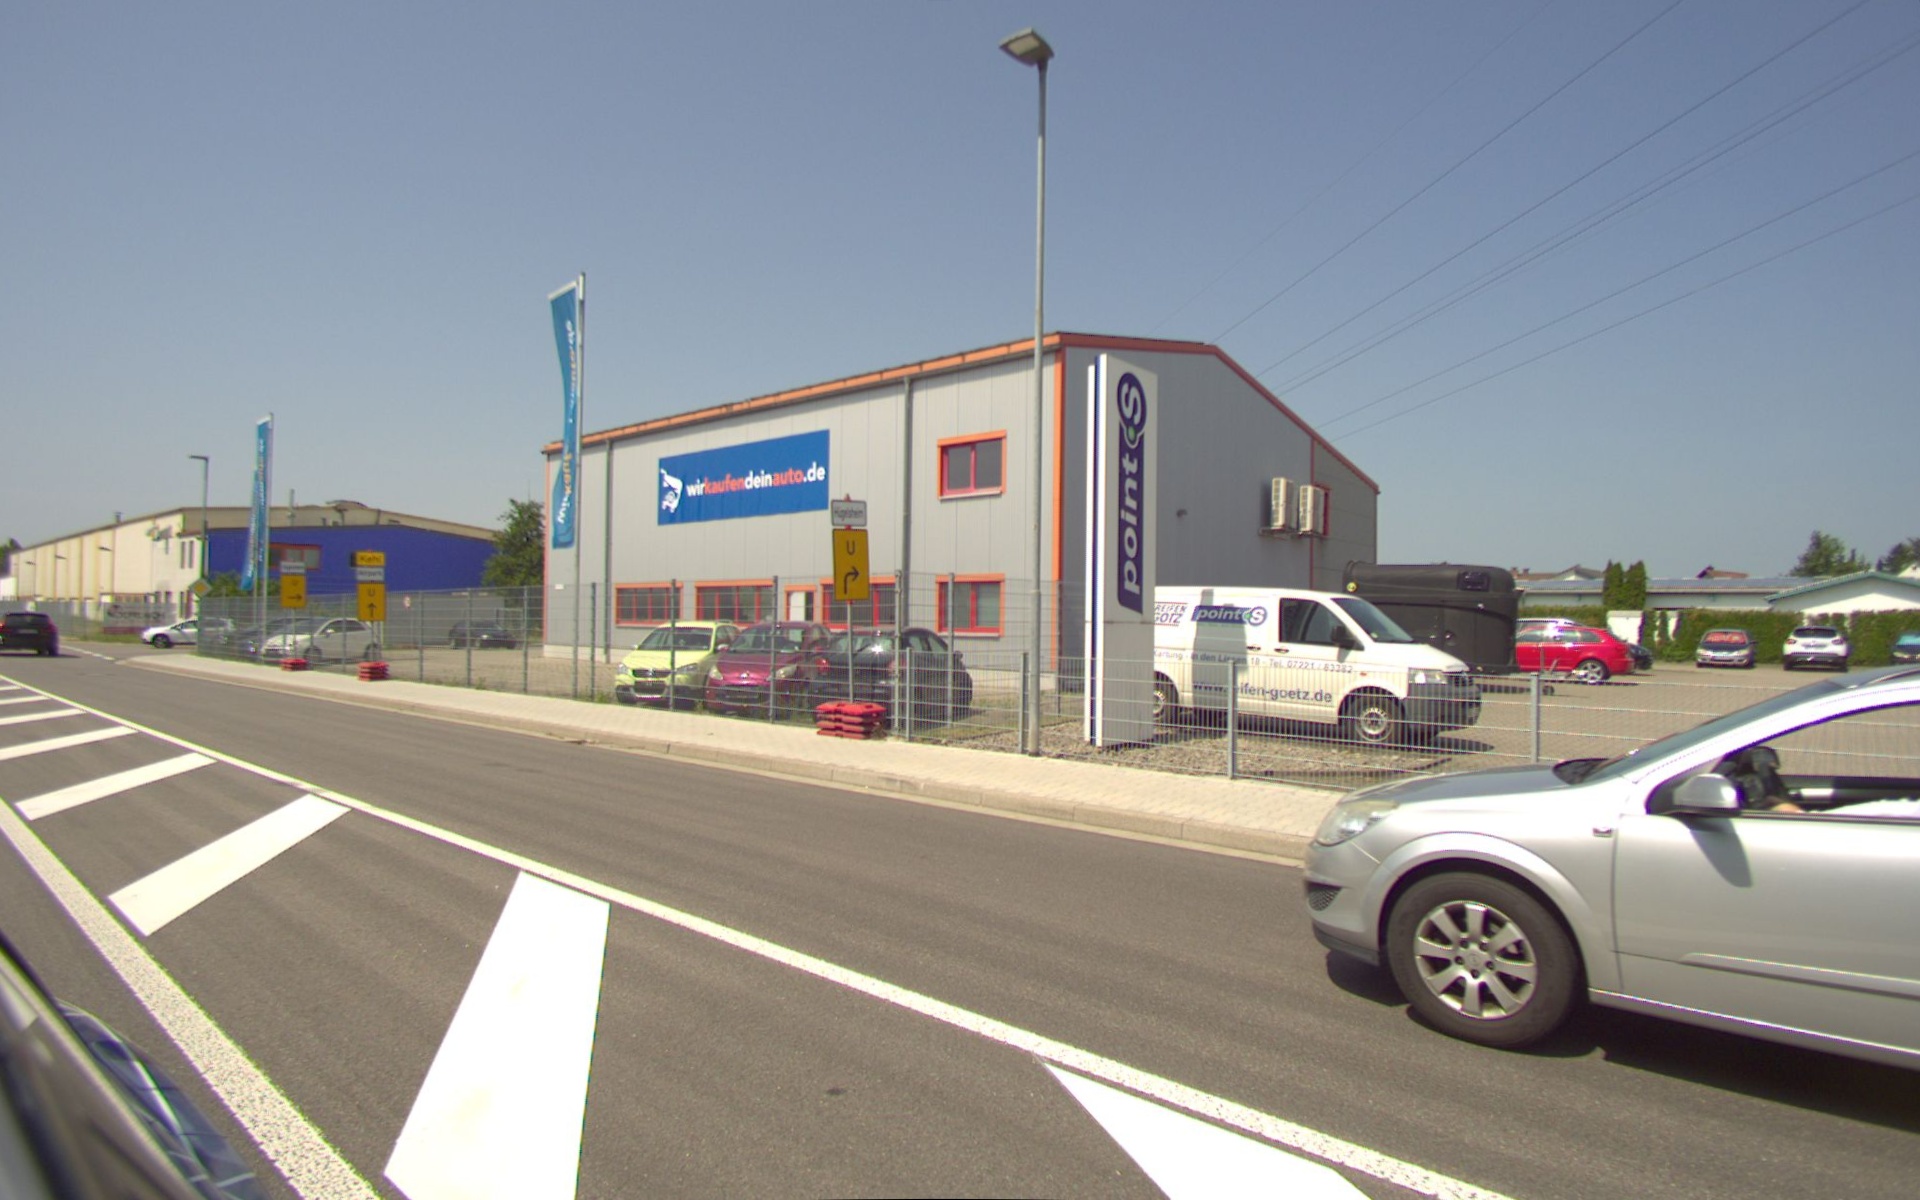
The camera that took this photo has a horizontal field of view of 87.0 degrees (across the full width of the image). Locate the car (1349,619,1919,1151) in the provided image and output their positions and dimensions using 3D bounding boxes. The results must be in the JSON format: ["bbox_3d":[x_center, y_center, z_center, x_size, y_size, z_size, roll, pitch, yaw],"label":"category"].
[{"bbox_3d":[3.668,0.837,3.164,4.256,1.477,1.746,-1,-4,40],"label":"car"}]

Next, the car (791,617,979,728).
[{"bbox_3d":[-1.018,1.038,15.909,1.728,1.505,3.980,0,-1,15],"label":"car"}]

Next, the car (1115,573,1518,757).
[{"bbox_3d":[4.599,0.747,13.514,4.680,2.029,1.972,0,-2,42],"label":"car"}]

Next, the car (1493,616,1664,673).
[{"bbox_3d":[18.679,1.325,30.676,4.191,1.626,1.759,-1,-3,41],"label":"car"}]

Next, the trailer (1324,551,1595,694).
[{"bbox_3d":[11.164,0.451,22.844,5.122,2.870,2.140,0,0,41],"label":"trailer"}]

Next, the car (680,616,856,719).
[{"bbox_3d":[-3.068,1.041,17.028,1.724,1.505,3.989,0,-1,8],"label":"car"}]

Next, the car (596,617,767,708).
[{"bbox_3d":[-5.036,1.090,18.900,1.722,1.505,4.086,0,-1,6],"label":"car"}]

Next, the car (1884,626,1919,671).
[{"bbox_3d":[32.401,1.627,33.902,1.781,1.459,3.949,-1,-3,38],"label":"car"}]

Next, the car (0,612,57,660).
[{"bbox_3d":[-34.645,1.289,37.071,4.522,1.629,1.861,-1,-4,43],"label":"car"}]

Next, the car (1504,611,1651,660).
[{"bbox_3d":[21.739,1.255,35.707,4.191,1.626,1.759,-1,-3,41],"label":"car"}]

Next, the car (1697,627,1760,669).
[{"bbox_3d":[28.671,1.769,37.754,1.781,1.459,3.949,-1,-3,38],"label":"car"}]

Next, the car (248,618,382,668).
[{"bbox_3d":[-20.627,1.351,32.506,1.576,1.476,3.469,0,-1,15],"label":"car"}]

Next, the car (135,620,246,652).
[{"bbox_3d":[-37.811,1.749,49.862,4.090,1.514,1.780,1,-2,-30],"label":"car"}]

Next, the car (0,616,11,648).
[{"bbox_3d":[-50.058,1.600,51.778,3.794,1.606,1.723,-1,-4,41],"label":"car"}]

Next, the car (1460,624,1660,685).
[{"bbox_3d":[15.407,1.355,26.108,4.191,1.459,1.759,-1,-3,41],"label":"car"}]

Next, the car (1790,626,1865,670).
[{"bbox_3d":[30.516,1.673,35.677,1.781,1.459,3.949,-1,-3,38],"label":"car"}]

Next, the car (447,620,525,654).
[{"bbox_3d":[-22.120,1.716,47.174,3.997,1.514,1.751,-2,-3,40],"label":"car"}]
